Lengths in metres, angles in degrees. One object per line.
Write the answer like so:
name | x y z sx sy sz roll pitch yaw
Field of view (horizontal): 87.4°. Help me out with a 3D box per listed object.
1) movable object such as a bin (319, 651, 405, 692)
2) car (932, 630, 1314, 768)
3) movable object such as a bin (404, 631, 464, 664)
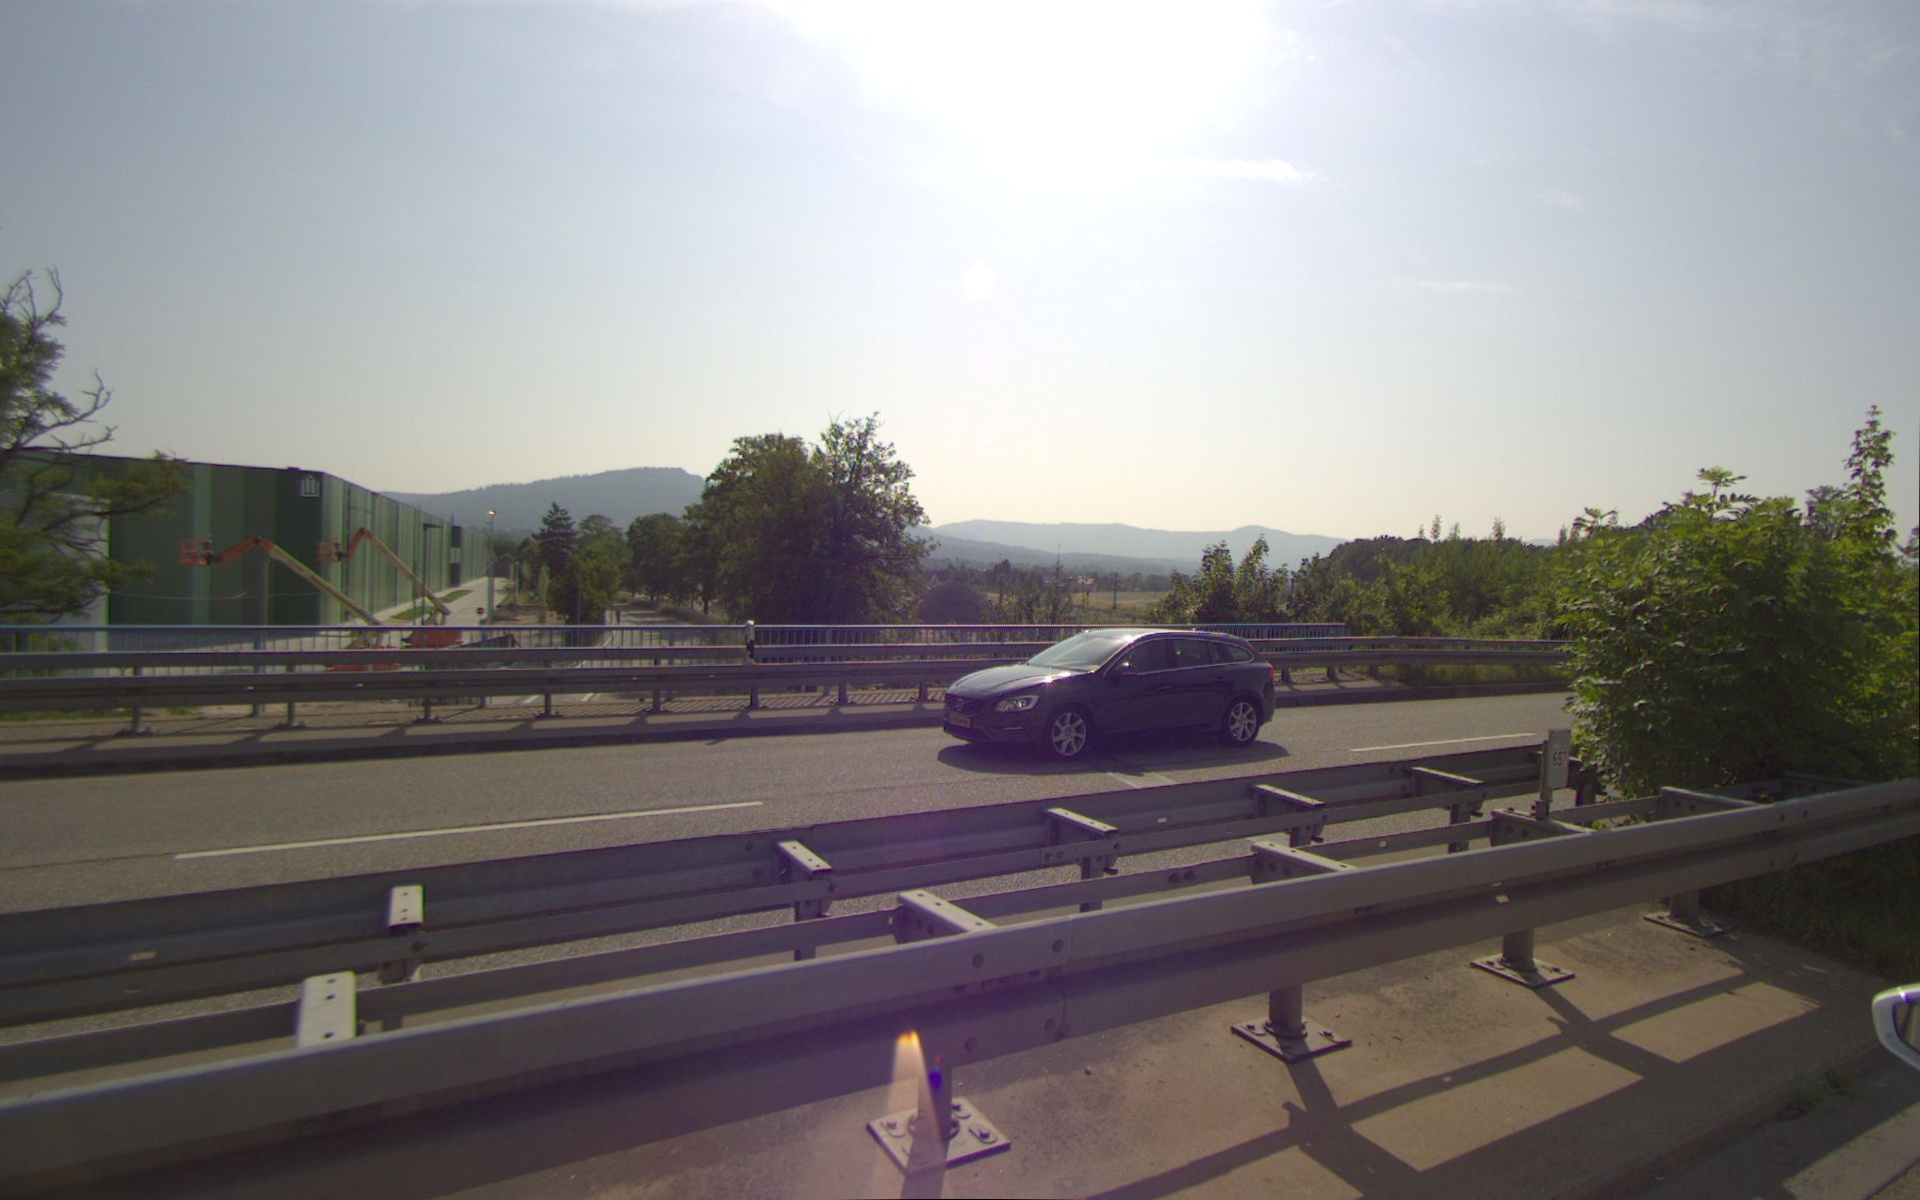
movable object such as a bin | -31.870 3.816 53.654 3.747 2.040 1.848 2 0 -27
car | 2.142 1.102 12.612 4.781 1.388 1.699 1 0 -31
movable object such as a bin | -35.159 3.181 67.200 3.353 2.107 1.717 2 0 -25
